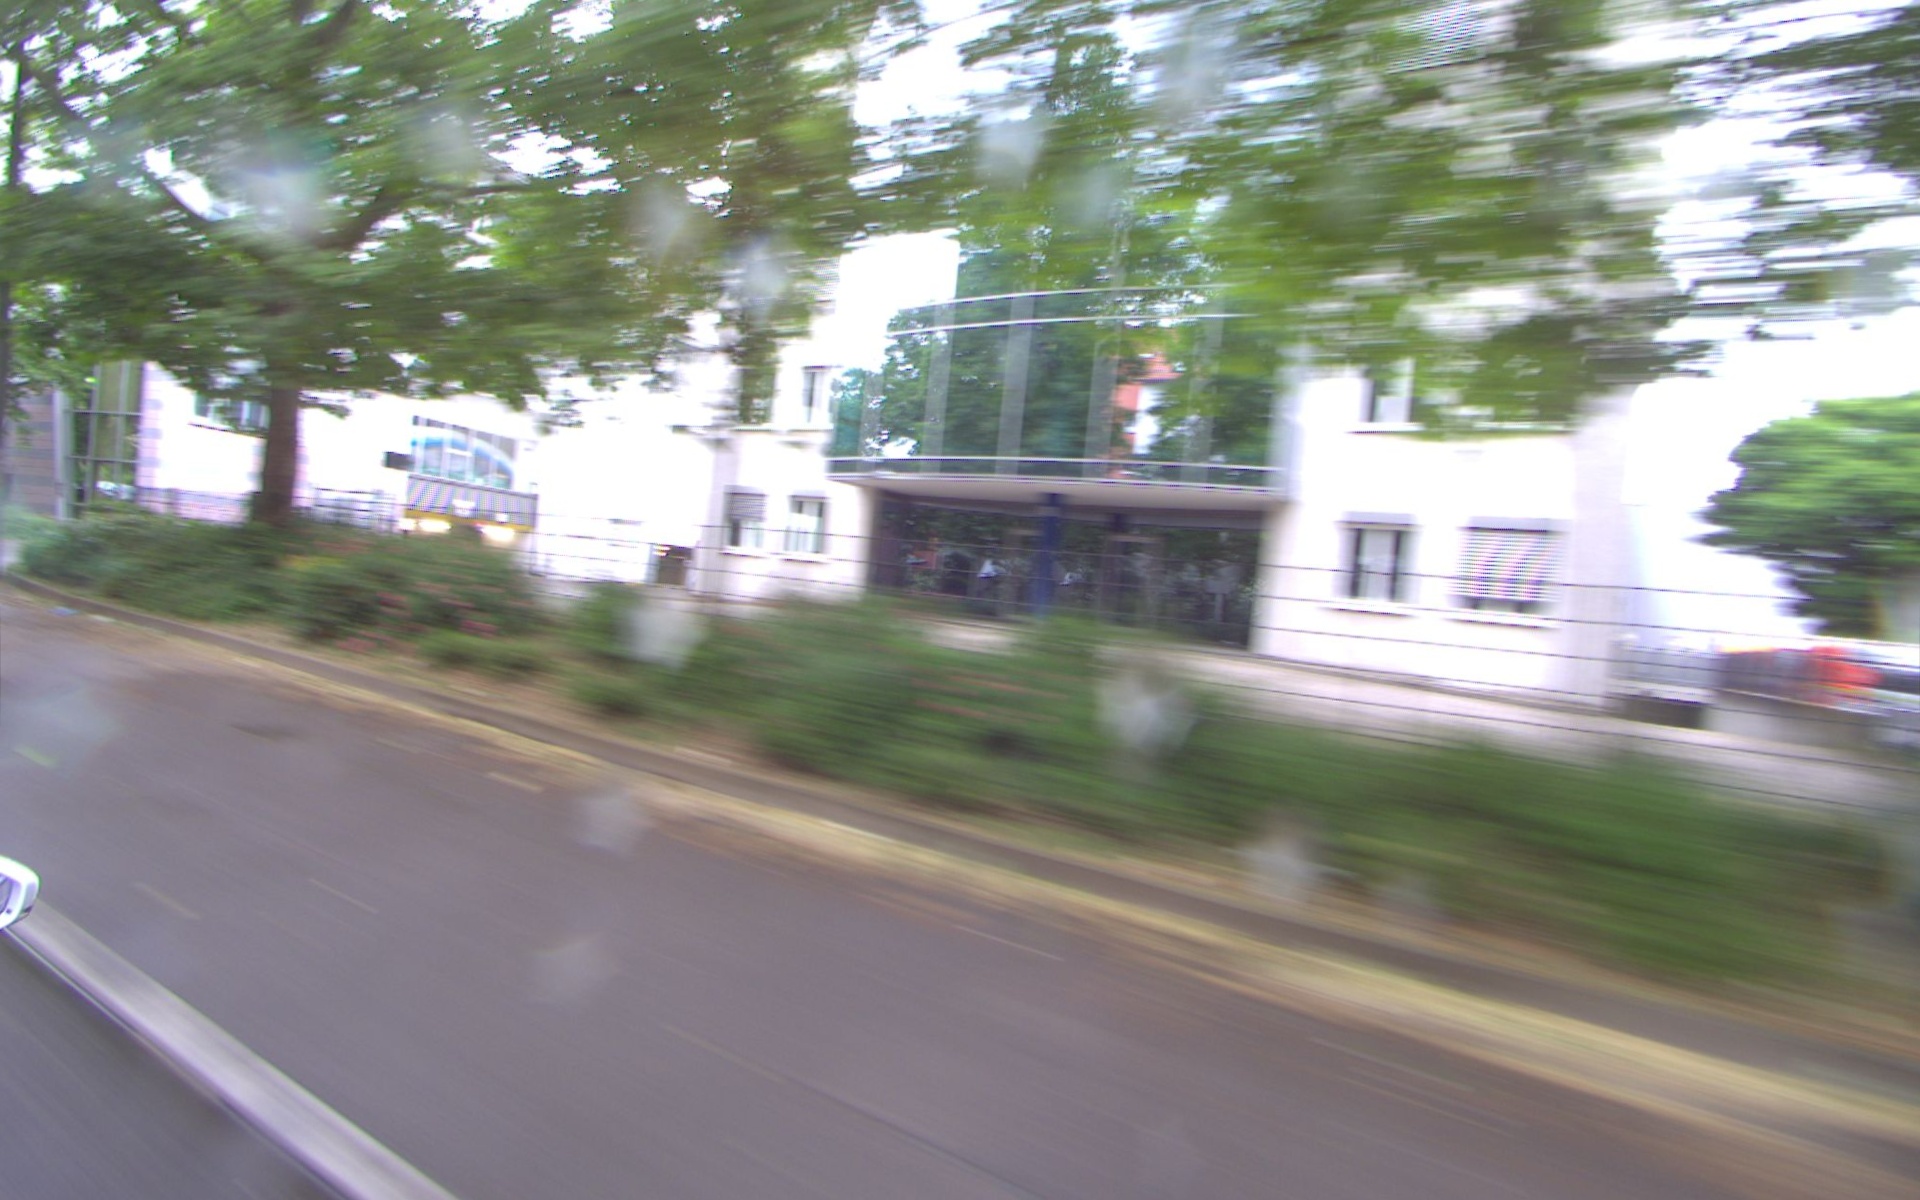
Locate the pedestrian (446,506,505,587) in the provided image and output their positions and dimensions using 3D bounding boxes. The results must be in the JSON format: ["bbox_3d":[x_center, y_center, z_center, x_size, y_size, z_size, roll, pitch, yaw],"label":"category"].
[{"bbox_3d":[-11.896,-1.312,24.686,0.945,1.851,0.829,6,1,35],"label":"pedestrian"}]

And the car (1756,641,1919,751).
[{"bbox_3d":[23.362,2.511,24.998,5.211,2.356,2.034,5,-2,32],"label":"car"}]

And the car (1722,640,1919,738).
[{"bbox_3d":[26.578,2.703,30.477,5.211,2.356,2.034,5,-2,32],"label":"car"}]

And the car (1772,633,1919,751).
[{"bbox_3d":[21.765,2.221,22.484,5.211,2.356,2.034,5,-2,32],"label":"car"}]

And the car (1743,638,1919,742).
[{"bbox_3d":[24.807,2.530,27.306,5.211,2.356,2.034,5,-2,32],"label":"car"}]

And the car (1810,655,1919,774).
[{"bbox_3d":[18.156,2.231,18.157,3.932,1.972,1.818,5,-2,32],"label":"car"}]

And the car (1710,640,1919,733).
[{"bbox_3d":[28.305,2.831,33.321,5.211,2.356,2.034,5,-2,32],"label":"car"}]
